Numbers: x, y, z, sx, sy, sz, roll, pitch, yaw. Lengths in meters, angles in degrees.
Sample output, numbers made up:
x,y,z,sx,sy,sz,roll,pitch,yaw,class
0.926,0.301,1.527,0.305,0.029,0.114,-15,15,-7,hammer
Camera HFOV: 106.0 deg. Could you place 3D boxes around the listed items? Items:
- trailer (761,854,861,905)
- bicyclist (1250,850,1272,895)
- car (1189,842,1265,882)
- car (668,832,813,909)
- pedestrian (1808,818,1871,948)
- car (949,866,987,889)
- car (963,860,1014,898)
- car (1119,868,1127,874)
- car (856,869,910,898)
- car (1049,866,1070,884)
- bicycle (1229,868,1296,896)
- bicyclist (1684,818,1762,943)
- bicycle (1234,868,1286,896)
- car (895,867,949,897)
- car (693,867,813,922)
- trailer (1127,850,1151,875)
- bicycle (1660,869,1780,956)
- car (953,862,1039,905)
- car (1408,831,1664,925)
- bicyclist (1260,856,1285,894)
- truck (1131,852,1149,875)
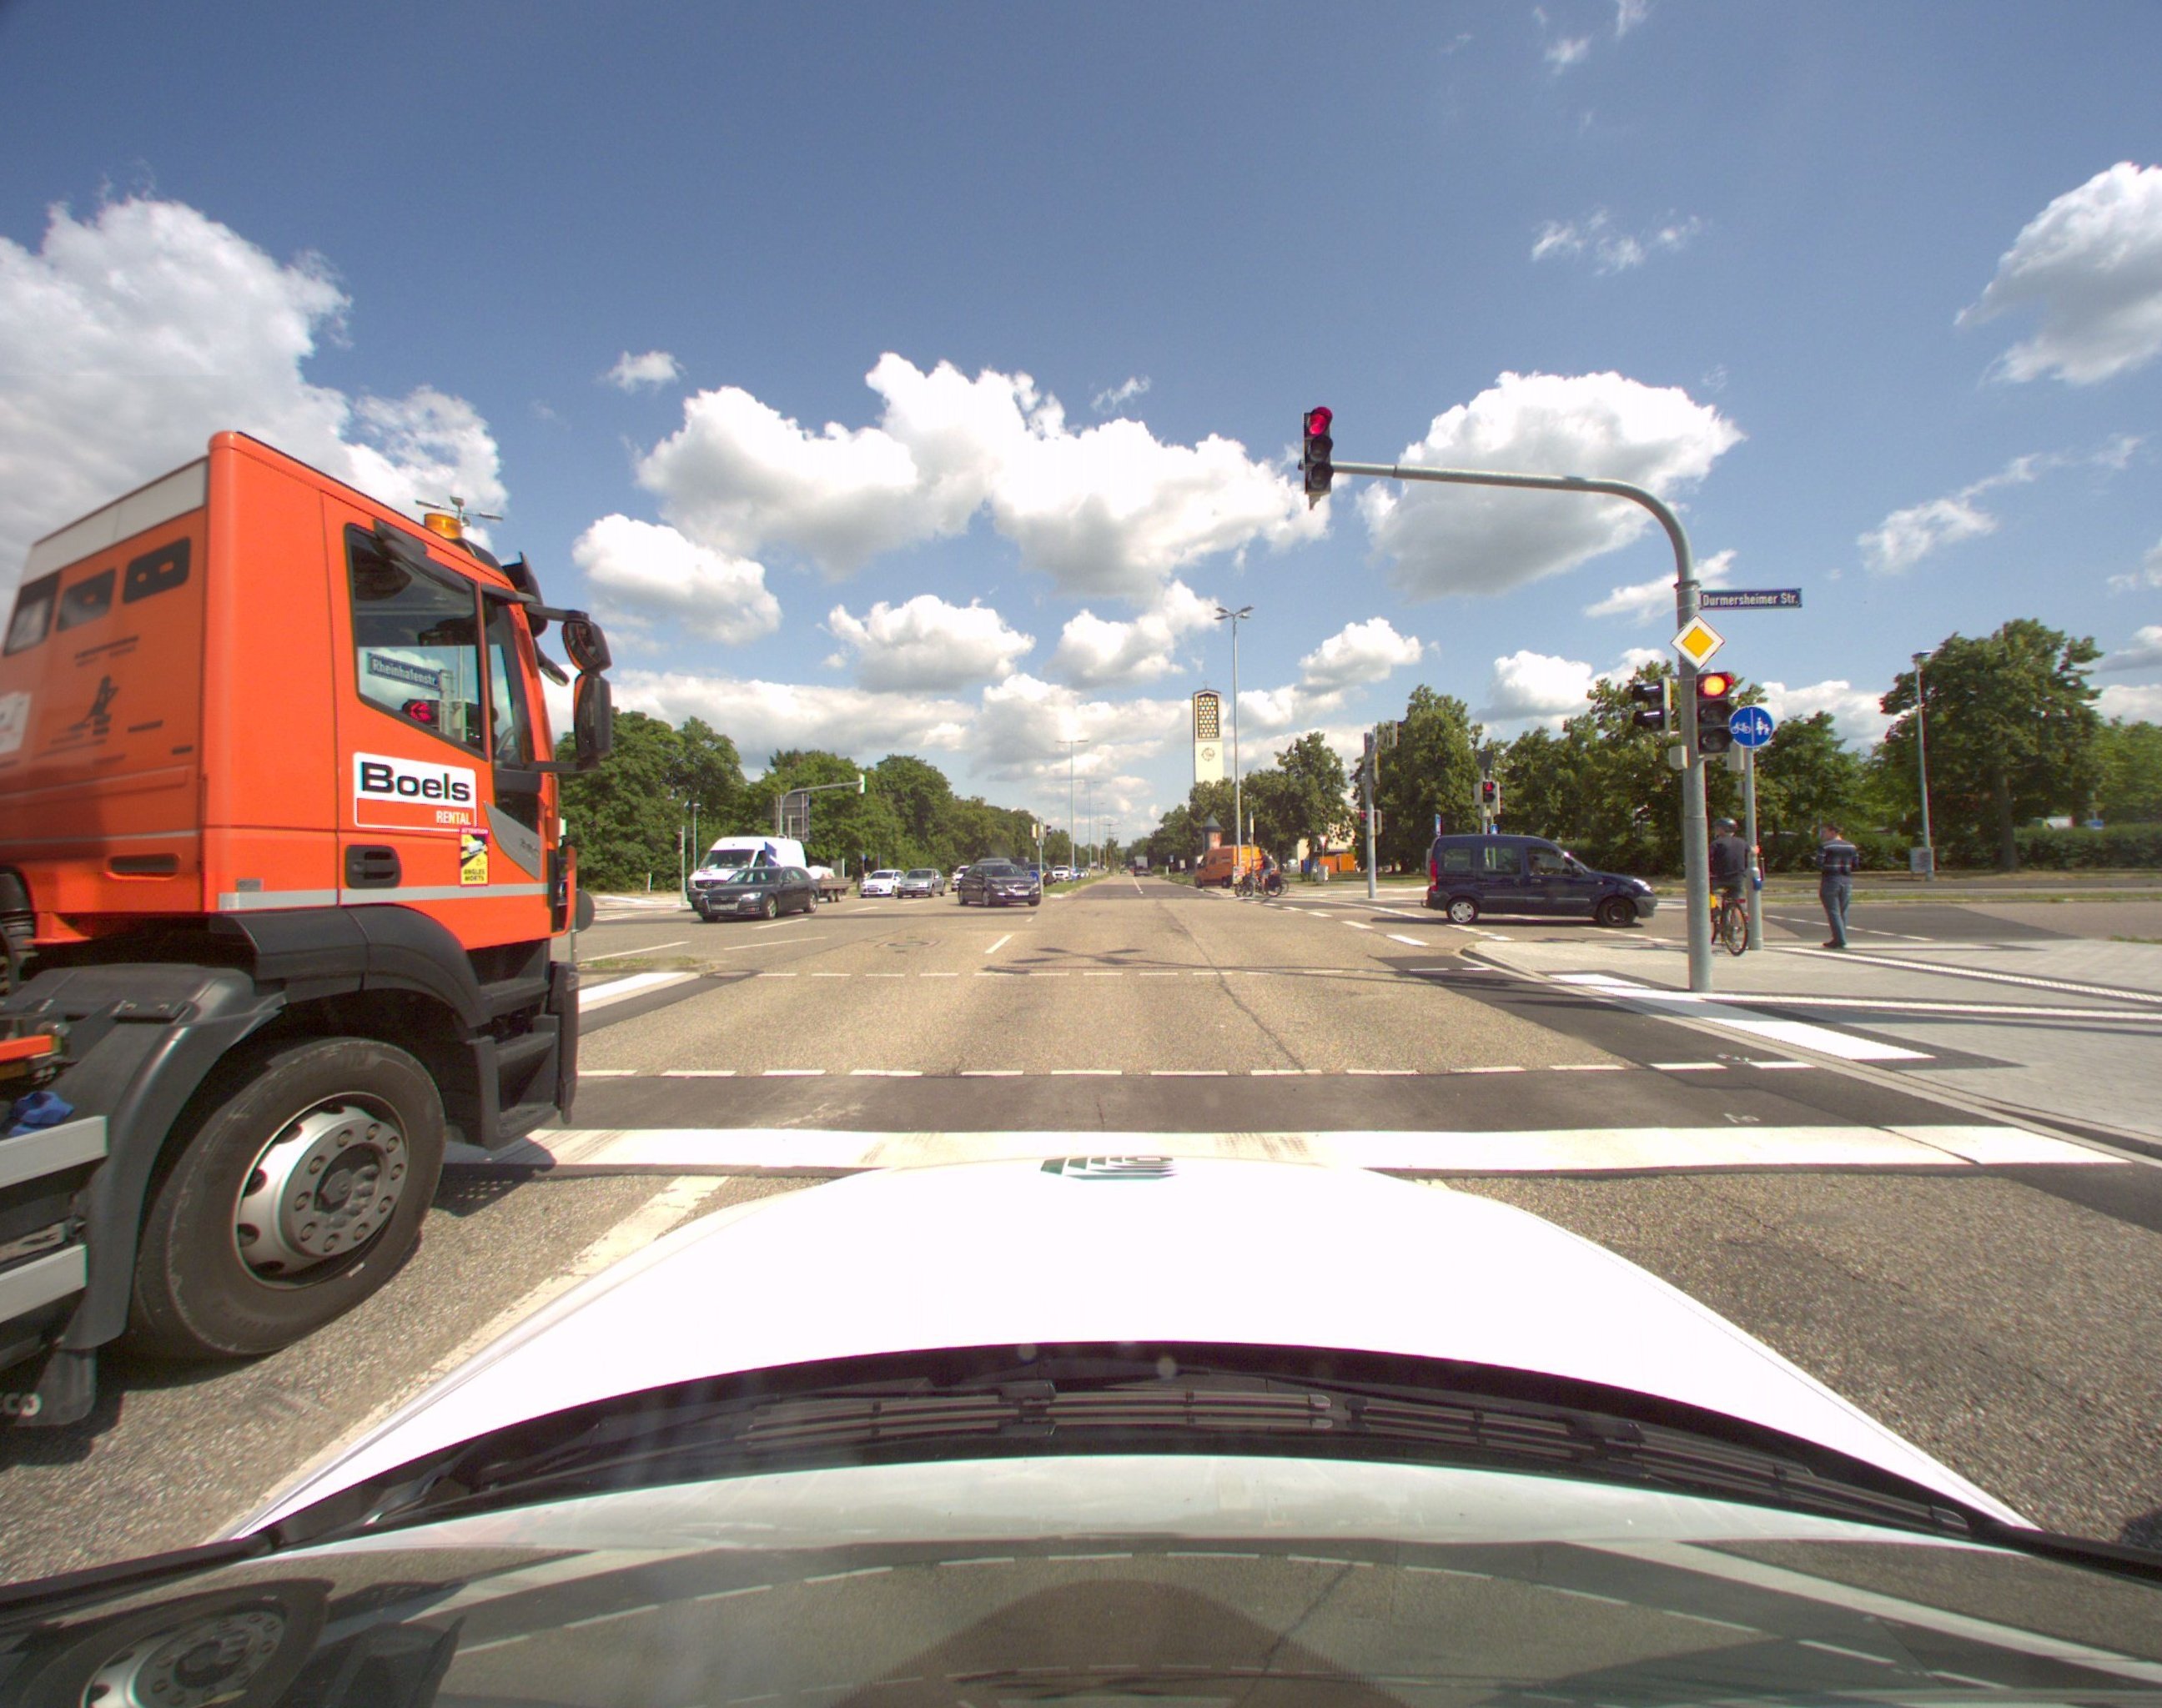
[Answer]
x,y,z,sx,sy,sz,roll,pitch,yaw,class
-11.487,1.079,35.090,2.114,2.014,5.169,1,-1,6,trailer
7.311,0.739,33.042,0.782,1.804,0.687,-1,-1,7,bicyclist
8.651,0.506,48.750,2.214,2.226,4.821,1,-1,-24,car
-12.087,0.584,29.507,2.163,2.471,5.976,1,-1,6,car
10.656,0.399,11.451,0.461,1.779,0.483,1,-1,11,pedestrian
-7.240,1.472,52.548,1.719,1.398,4.001,1,-1,2,car
-4.311,1.135,38.463,1.728,1.660,4.233,1,0,2,car
10.831,4.505,212.608,1.986,1.552,4.001,1,-1,2,car
-10.867,1.590,44.909,1.851,1.513,4.001,1,-1,2,car
-2.056,2.031,79.011,1.727,1.660,4.233,1,-1,3,car
7.711,1.178,34.570,2.844,1.112,0.791,0,-1,-22,bicycle
8.868,0.356,11.278,0.643,1.661,0.653,1,-1,16,bicyclist
7.244,1.128,33.045,1.986,1.093,0.687,-1,-1,6,bicycle
-7.794,1.361,40.297,1.719,1.398,4.001,1,-1,2,car
-8.800,1.048,22.166,1.757,1.352,3.520,-1,-1,2,car
9.998,1.564,139.207,3.602,4.012,11.336,-1,-2,6,trailer
8.914,0.772,11.457,0.643,1.108,1.936,1,-1,16,bicycle
-2.862,1.008,26.854,1.578,1.316,3.398,2,-4,-30,car
8.739,0.433,16.020,4.179,1.660,1.750,0,-1,25,car
8.192,0.884,34.774,0.701,1.616,0.791,0,-1,-22,bicyclist
10.711,1.750,146.581,2.944,3.971,8.651,-1,-2,6,truck
